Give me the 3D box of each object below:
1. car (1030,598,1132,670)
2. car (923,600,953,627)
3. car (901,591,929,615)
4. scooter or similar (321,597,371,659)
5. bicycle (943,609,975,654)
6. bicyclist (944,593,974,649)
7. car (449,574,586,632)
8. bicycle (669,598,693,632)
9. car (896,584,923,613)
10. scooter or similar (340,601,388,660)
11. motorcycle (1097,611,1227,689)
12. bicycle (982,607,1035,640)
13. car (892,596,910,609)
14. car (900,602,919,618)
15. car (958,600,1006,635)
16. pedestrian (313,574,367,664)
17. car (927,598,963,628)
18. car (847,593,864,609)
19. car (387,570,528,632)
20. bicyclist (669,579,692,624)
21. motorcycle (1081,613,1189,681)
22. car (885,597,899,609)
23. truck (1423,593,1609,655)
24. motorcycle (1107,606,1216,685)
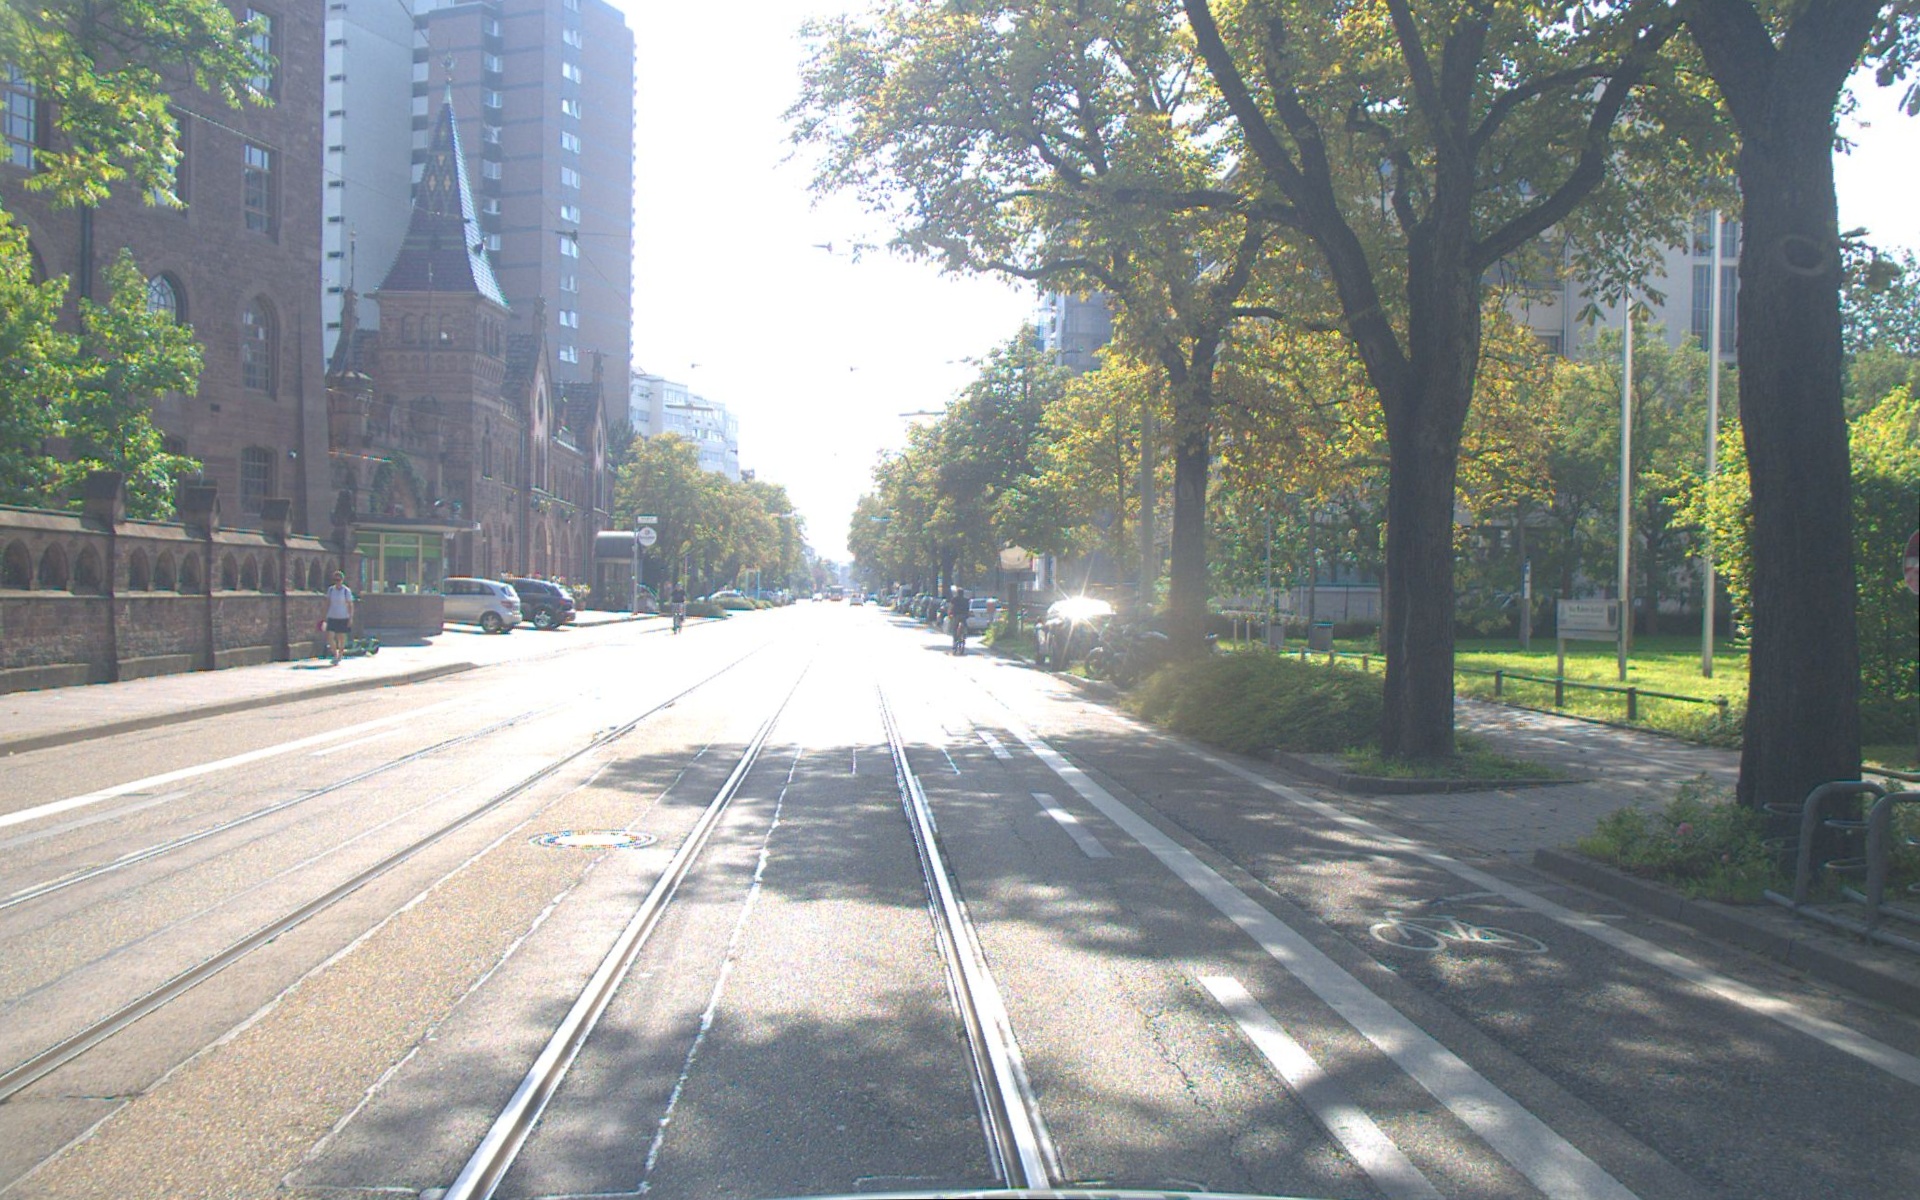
[{"bbox_3d":[2.763,0.747,38.731,1.707,1.512,4.433,-1,1,-5],"label":"car"},{"bbox_3d":[-1.324,0.786,99.409,1.613,1.537,3.775,-1,0,-3],"label":"car"},{"bbox_3d":[-3.337,0.190,122.519,1.719,1.721,4.391,2,0,-6],"label":"car"},{"bbox_3d":[-11.968,0.554,32.253,0.809,1.168,0.280,5,-3,-41],"label":"scooter or similar"},{"bbox_3d":[-0.041,0.830,44.843,0.771,1.164,2.304,1,0,-2],"label":"bicycle"},{"bbox_3d":[-0.031,0.562,44.834,0.771,1.495,1.115,1,0,-2],"label":"bicyclist"},{"bbox_3d":[-15.617,0.099,58.535,4.314,1.674,1.954,5,0,-7],"label":"car"},{"bbox_3d":[-10.176,0.548,60.353,0.684,1.178,2.035,-2,0,-6],"label":"bicycle"},{"bbox_3d":[-4.729,-0.106,153.581,2.042,2.597,5.495,-2,0,-5],"label":"car"},{"bbox_3d":[-12.061,0.621,33.483,0.809,1.168,0.280,5,-3,-41],"label":"scooter or similar"},{"bbox_3d":[3.396,0.825,27.865,2.025,1.264,0.842,-1,0,35],"label":"motorcycle"},{"bbox_3d":[1.666,0.809,57.002,1.734,1.082,0.795,-1,0,-6],"label":"bicycle"},{"bbox_3d":[-6.168,0.269,172.645,1.719,1.402,4.715,-1,0,-4],"label":"car"},{"bbox_3d":[-4.405,0.868,143.330,1.584,1.398,4.824,0,0,-3],"label":"car"},{"bbox_3d":[0.903,0.724,69.388,1.608,1.455,3.984,0,0,-5],"label":"car"},{"bbox_3d":[-11.346,0.342,30.284,0.701,1.617,0.774,1,-1,-5],"label":"pedestrian"},{"bbox_3d":[-0.810,0.703,86.877,1.614,1.453,4.080,1,-2,-5],"label":"car"},{"bbox_3d":[-12.420,0.147,196.940,1.954,1.870,3.998,1,0,-3],"label":"car"},{"bbox_3d":[-15.953,0.033,52.616,3.821,1.623,1.822,5,0,-2],"label":"car"},{"bbox_3d":[-10.205,0.057,60.359,0.684,1.608,1.086,-2,0,-6],"label":"bicyclist"},{"bbox_3d":[3.353,0.883,31.727,1.942,1.246,0.646,1,0,21],"label":"motorcycle"},{"bbox_3d":[-8.440,0.384,206.070,1.656,1.443,3.632,1,0,-3],"label":"car"},{"bbox_3d":[21.316,0.921,63.555,6.436,2.254,2.119,1,0,-3],"label":"truck"},{"bbox_3d":[3.597,0.797,29.681,0.834,1.350,2.044,0,0,-32],"label":"motorcycle"}]
